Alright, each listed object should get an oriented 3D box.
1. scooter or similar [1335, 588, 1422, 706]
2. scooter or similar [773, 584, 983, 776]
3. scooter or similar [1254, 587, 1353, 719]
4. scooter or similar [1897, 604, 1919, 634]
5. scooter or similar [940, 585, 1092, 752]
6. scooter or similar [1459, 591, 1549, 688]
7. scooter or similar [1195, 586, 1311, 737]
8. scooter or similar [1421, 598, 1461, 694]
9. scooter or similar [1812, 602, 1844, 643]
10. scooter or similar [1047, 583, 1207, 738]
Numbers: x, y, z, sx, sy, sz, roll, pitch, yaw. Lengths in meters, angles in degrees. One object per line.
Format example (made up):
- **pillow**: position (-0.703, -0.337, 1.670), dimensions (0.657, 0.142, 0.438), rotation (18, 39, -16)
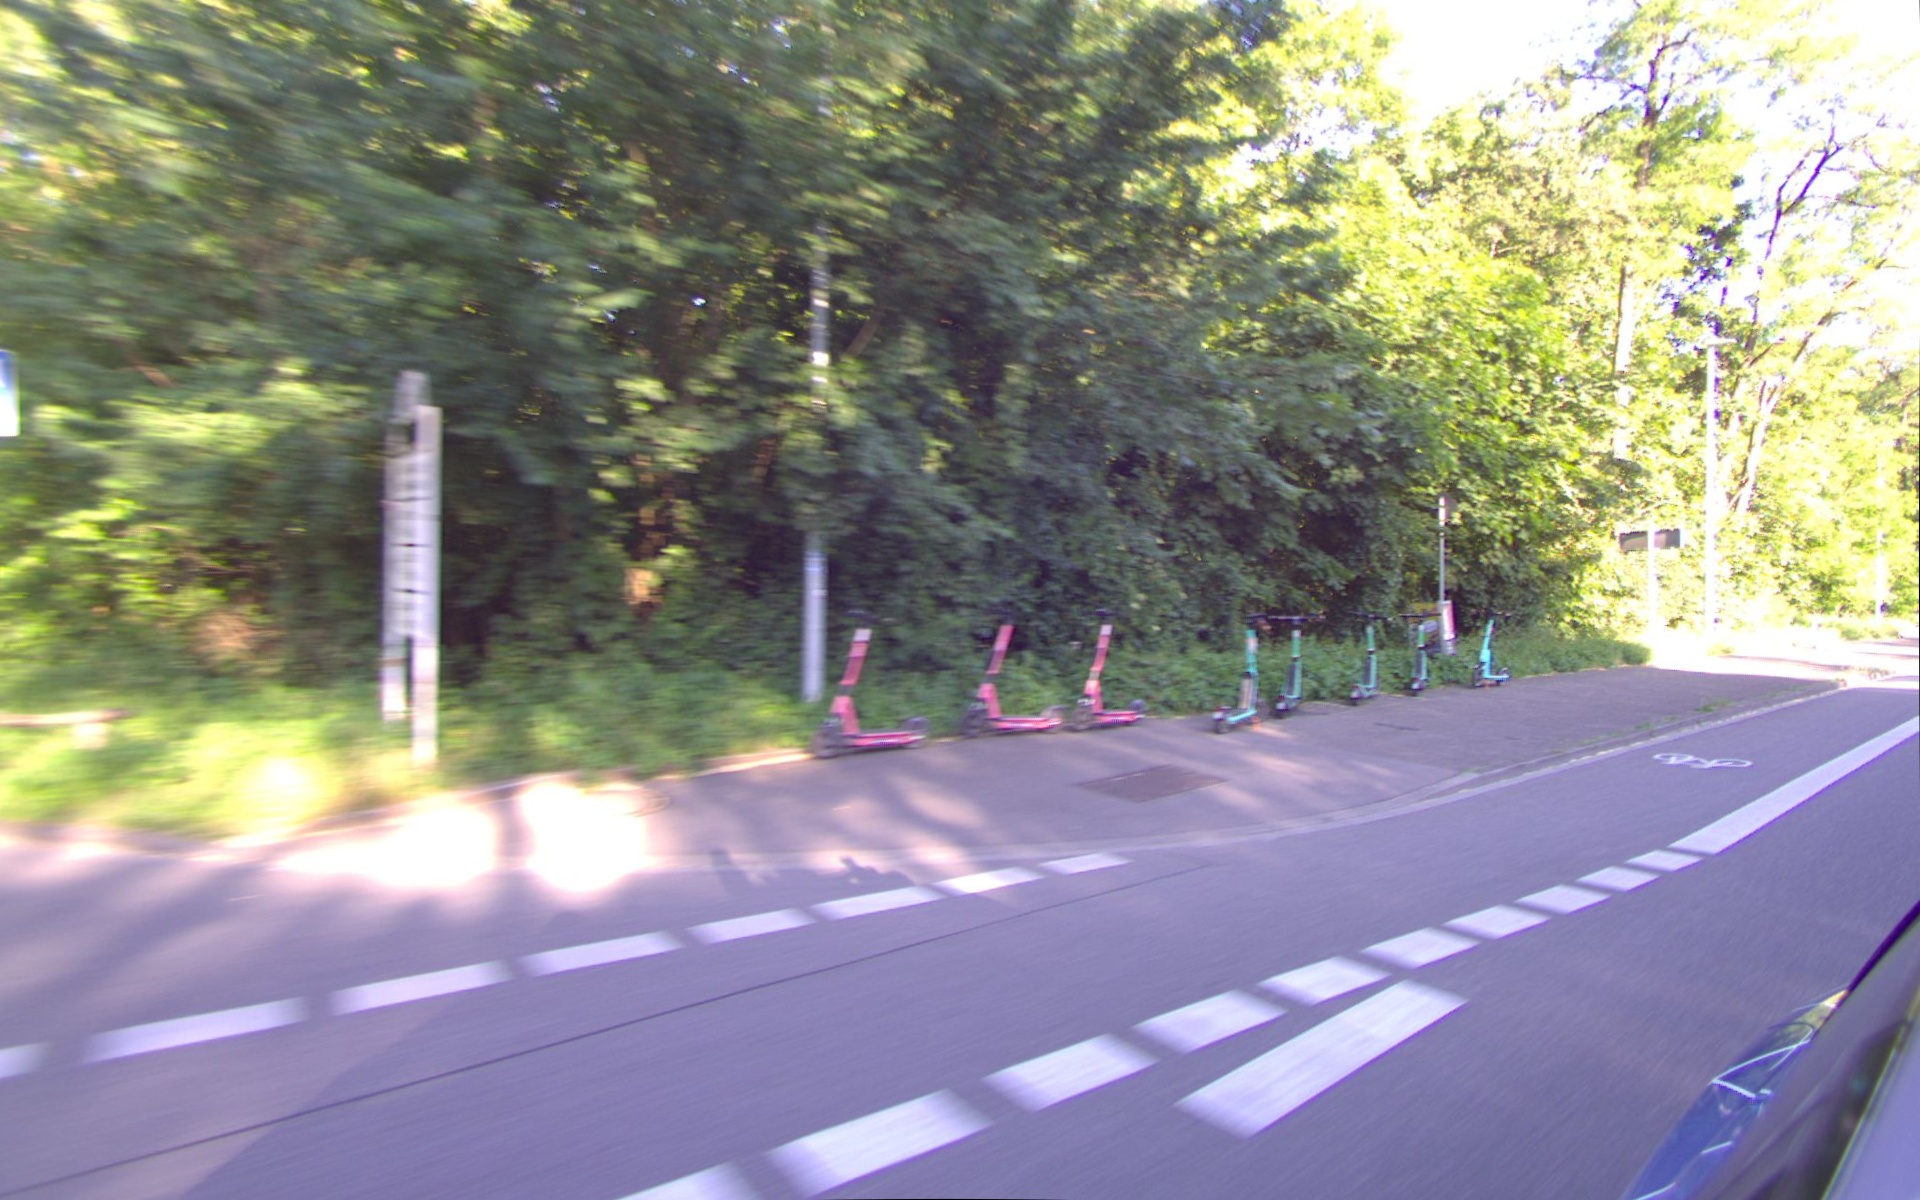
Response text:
- **scooter or similar**: position (5.572, 0.578, 13.421), dimensions (0.680, 1.441, 1.660), rotation (1, 1, 36)
- **scooter or similar**: position (-0.656, 0.601, 8.449), dimensions (1.652, 1.441, 0.683), rotation (0, 1, -40)
- **scooter or similar**: position (4.101, 0.579, 12.005), dimensions (0.679, 1.441, 1.661), rotation (1, 1, 34)
- **scooter or similar**: position (41.331, 0.820, 43.495), dimensions (1.515, 1.265, 0.533), rotation (1, 0, 7)
- **scooter or similar**: position (0.523, 0.596, 9.395), dimensions (1.221, 1.441, 0.685), rotation (1, 1, -32)
- **scooter or similar**: position (8.564, 0.590, 15.894), dimensions (1.652, 1.441, 0.683), rotation (0, 1, -41)
- **scooter or similar**: position (3.105, 0.588, 10.617), dimensions (0.679, 1.441, 1.661), rotation (1, 1, 34)
- **scooter or similar**: position (7.067, 0.644, 14.847), dimensions (0.463, 1.323, 1.466), rotation (1, 1, 28)
- **scooter or similar**: position (27.773, 0.702, 32.379), dimensions (1.514, 1.265, 0.534), rotation (0, 1, -40)
- **scooter or similar**: position (1.718, 0.563, 10.281), dimensions (1.652, 1.441, 0.683), rotation (0, 1, -40)
